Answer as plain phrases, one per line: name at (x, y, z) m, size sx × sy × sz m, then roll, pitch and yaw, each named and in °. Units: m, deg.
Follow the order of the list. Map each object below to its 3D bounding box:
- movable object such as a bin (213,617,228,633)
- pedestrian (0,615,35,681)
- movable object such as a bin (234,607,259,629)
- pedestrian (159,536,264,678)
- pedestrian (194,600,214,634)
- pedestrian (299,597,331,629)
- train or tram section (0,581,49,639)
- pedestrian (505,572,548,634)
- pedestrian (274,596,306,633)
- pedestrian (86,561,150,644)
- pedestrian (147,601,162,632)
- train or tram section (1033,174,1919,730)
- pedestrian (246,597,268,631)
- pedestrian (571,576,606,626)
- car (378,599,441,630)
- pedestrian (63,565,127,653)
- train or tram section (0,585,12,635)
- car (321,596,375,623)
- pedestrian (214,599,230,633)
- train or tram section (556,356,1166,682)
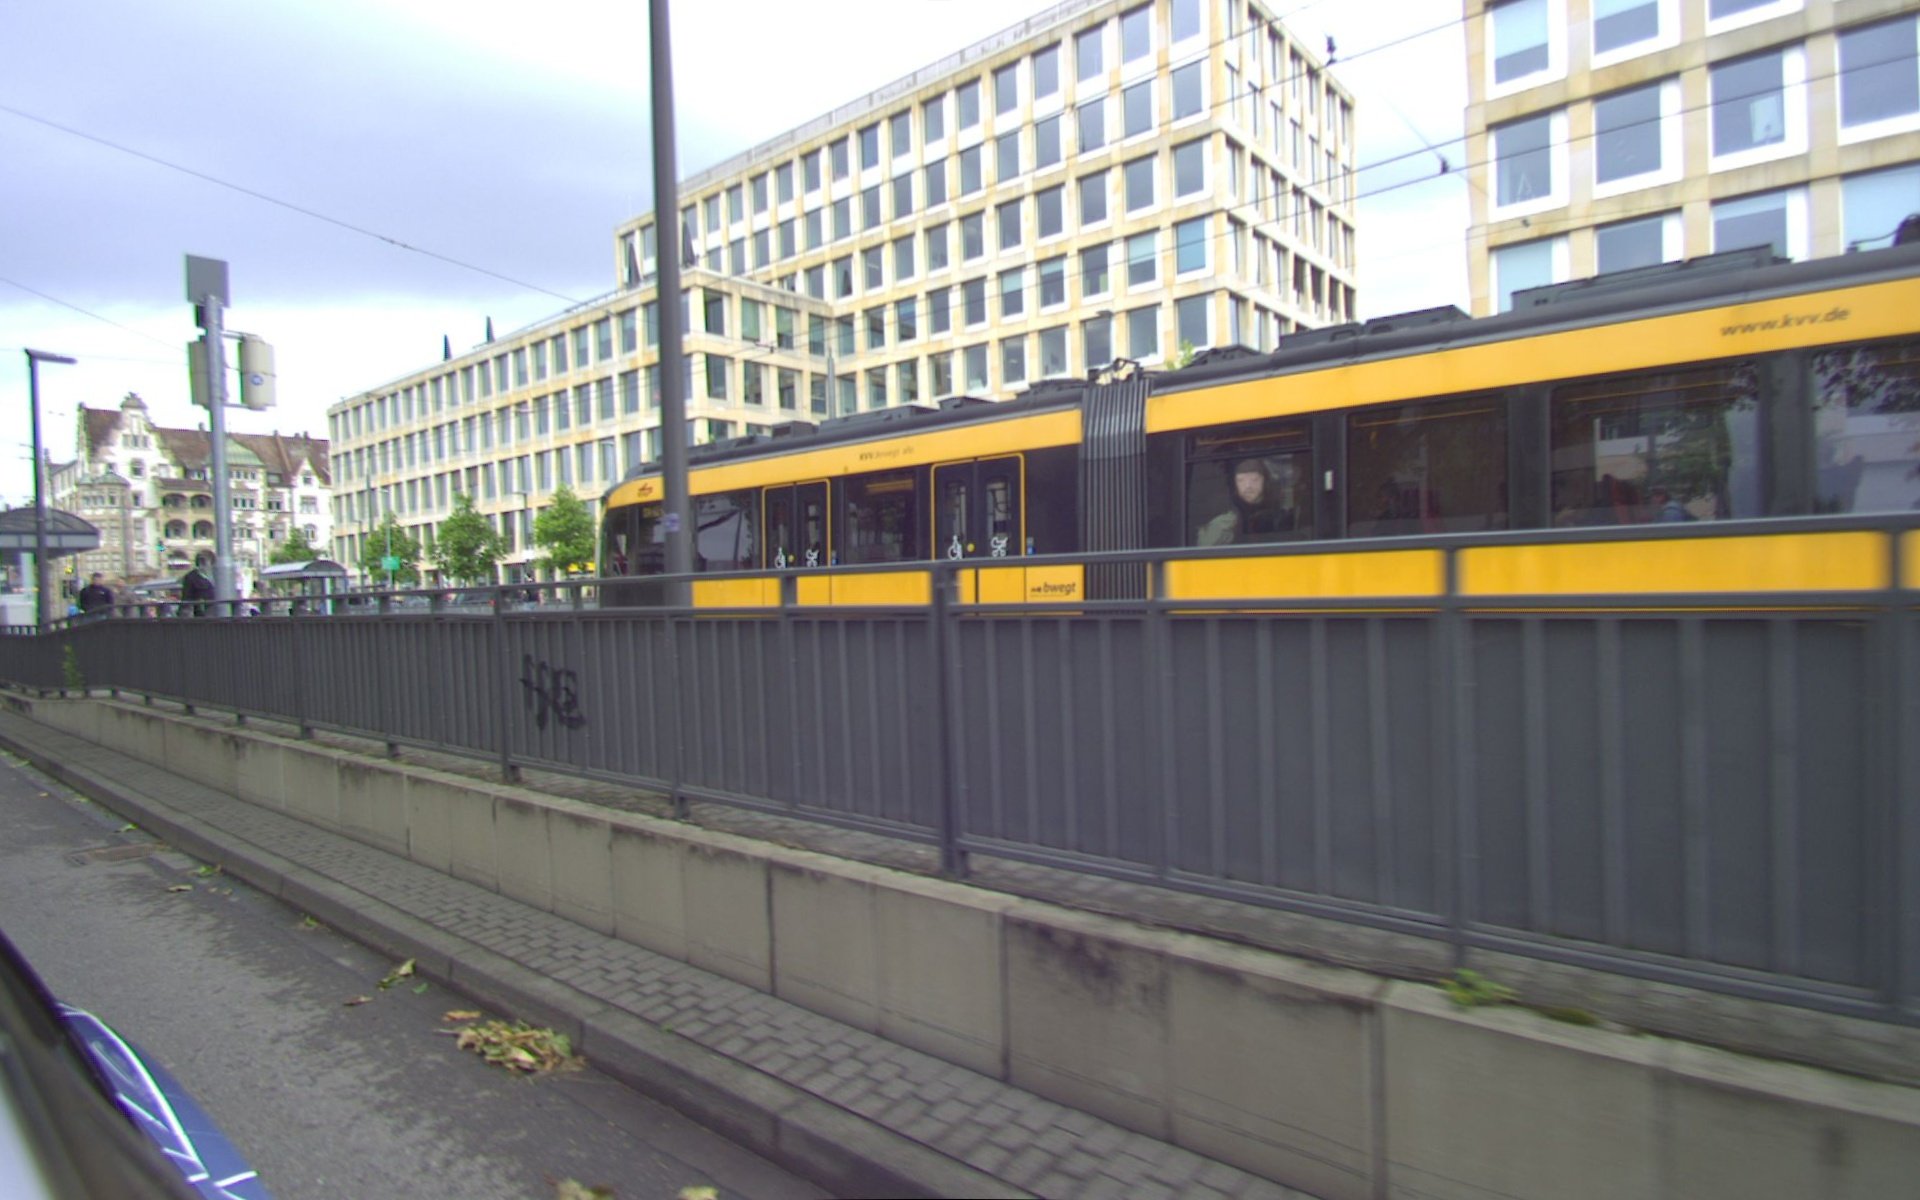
movable object such as a bin at (-35.937, 1.216, 49.170) m, size 0.529 × 0.753 × 0.469 m, roll -2°, pitch 1°, yaw -43°
pedestrian at (-19.680, 0.990, 20.824) m, size 0.612 × 1.313 × 0.827 m, roll -1°, pitch 1°, yaw 38°
movable object such as a bin at (-34.160, 0.862, 48.446) m, size 0.714 × 1.029 × 0.620 m, roll -1°, pitch 1°, yaw 7°
pedestrian at (-11.153, 0.089, 15.087) m, size 0.839 × 2.029 × 1.048 m, roll -1°, pitch 1°, yaw 40°
pedestrian at (-40.678, 0.908, 54.467) m, size 0.589 × 1.782 × 0.588 m, roll -1°, pitch 1°, yaw 3°
pedestrian at (-29.663, 0.589, 46.528) m, size 0.939 × 1.382 × 1.027 m, roll -1°, pitch 1°, yaw 43°
train or tram section at (-66.805, 0.706, 70.562) m, size 13.506 × 3.719 × 2.827 m, roll -1°, pitch 1°, yaw 39°
pedestrian at (-13.075, 0.080, 30.521) m, size 1.159 × 1.809 × 0.704 m, roll -1°, pitch 1°, yaw 39°
pedestrian at (-31.421, 0.673, 47.444) m, size 0.939 × 1.699 × 1.027 m, roll -1°, pitch 1°, yaw 43°
pedestrian at (-18.665, 0.049, 22.433) m, size 1.107 × 1.807 × 0.666 m, roll -1°, pitch 1°, yaw 27°
pedestrian at (-45.782, 0.932, 57.513) m, size 0.588 × 1.782 × 0.589 m, roll -2°, pitch 1°, yaw -43°
train or tram section at (6.207, -1.064, 9.607) m, size 11.303 × 3.890 × 3.131 m, roll -1°, pitch 1°, yaw 41°
pedestrian at (-34.063, 0.684, 49.044) m, size 0.649 × 1.619 × 0.578 m, roll -1°, pitch 1°, yaw 7°
pedestrian at (-15.247, 0.029, 41.516) m, size 1.031 × 2.029 × 0.924 m, roll -1°, pitch 1°, yaw 39°
car at (-31.693, 0.803, 58.242) m, size 3.999 × 1.674 × 1.972 m, roll -1°, pitch 1°, yaw 42°
pedestrian at (-18.133, 0.180, 21.223) m, size 1.109 × 1.807 × 0.665 m, roll -1°, pitch 1°, yaw 32°
train or tram section at (-76.576, 0.812, 78.489) m, size 11.687 × 3.667 × 2.827 m, roll -1°, pitch 1°, yaw 39°
car at (-40.590, 0.633, 67.097) m, size 3.999 × 1.674 × 1.972 m, roll -1°, pitch 1°, yaw 42°
pedestrian at (-35.590, 0.748, 48.791) m, size 0.529 × 1.619 × 0.566 m, roll -2°, pitch 1°, yaw -43°
train or tram section at (-2.386, -0.966, 17.003) m, size 11.303 × 3.890 × 3.205 m, roll -1°, pitch 1°, yaw 41°
